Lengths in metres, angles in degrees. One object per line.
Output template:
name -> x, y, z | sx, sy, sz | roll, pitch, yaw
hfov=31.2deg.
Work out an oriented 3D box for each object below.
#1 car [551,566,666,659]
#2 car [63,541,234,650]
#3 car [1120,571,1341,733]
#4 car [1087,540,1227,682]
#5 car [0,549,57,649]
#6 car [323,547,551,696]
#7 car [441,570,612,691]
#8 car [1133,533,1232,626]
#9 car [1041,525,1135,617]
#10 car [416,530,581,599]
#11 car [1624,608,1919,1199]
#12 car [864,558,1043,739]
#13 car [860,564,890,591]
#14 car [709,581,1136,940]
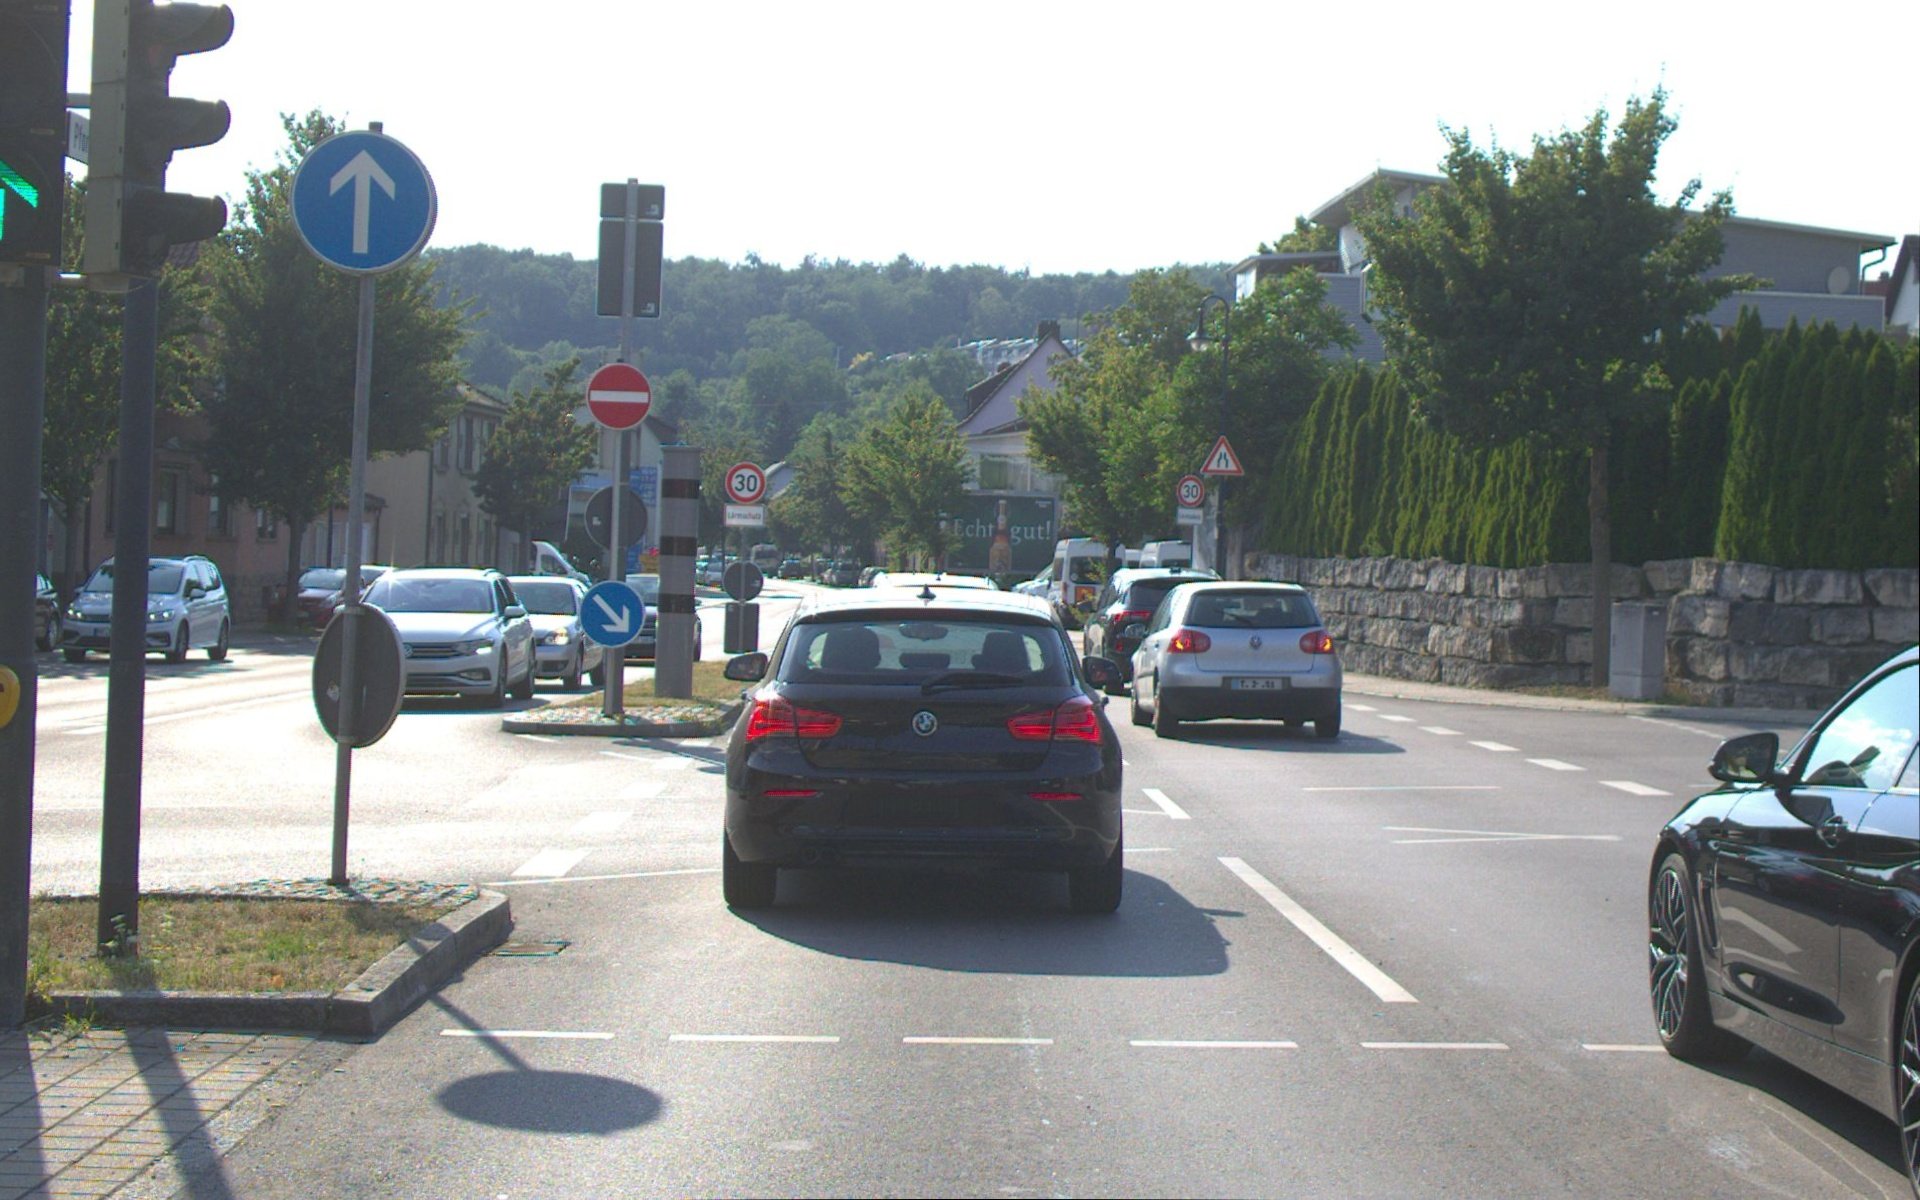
car -> -5.889, 0.184, 57.955 | 1.532, 1.457, 3.506 | 1, 1, 0
car -> -12.683, -0.092, 53.960 | 1.685, 1.606, 4.413 | 1, 1, -1
car -> 2.550, 0.460, 33.072 | 1.753, 1.409, 3.422 | 1, 1, -1
car -> 2.548, 0.110, 45.078 | 1.603, 1.761, 3.411 | 1, 1, 0
car -> -15.617, -0.050, 54.549 | 1.618, 1.505, 4.134 | 1, 1, -2
car -> -5.637, 0.183, 37.533 | 1.835, 1.483, 4.566 | 1, 1, -1
car -> -5.415, 0.360, 43.295 | 1.589, 1.422, 3.578 | 1, 0, 2
car -> 6.750, -0.666, 105.173 | 2.111, 2.712, 6.444 | 1, 1, -4
car -> 3.855, -0.905, 104.727 | 2.149, 2.671, 6.604 | 1, 1, -4
car -> -18.018, -1.394, 134.430 | 6.158, 2.436, 2.250 | 2, 1, -2
car -> 3.056, 0.755, 9.016 | 1.699, 1.364, 4.263 | 1, 1, -1
car -> -0.105, 0.423, 33.206 | 1.591, 1.595, 3.894 | 1, 1, -1
car -> -4.945, -1.310, 200.251 | 1.596, 1.480, 3.475 | 2, 1, -4
car -> -0.195, 0.663, 16.154 | 1.771, 1.451, 3.516 | 1, 1, -1
